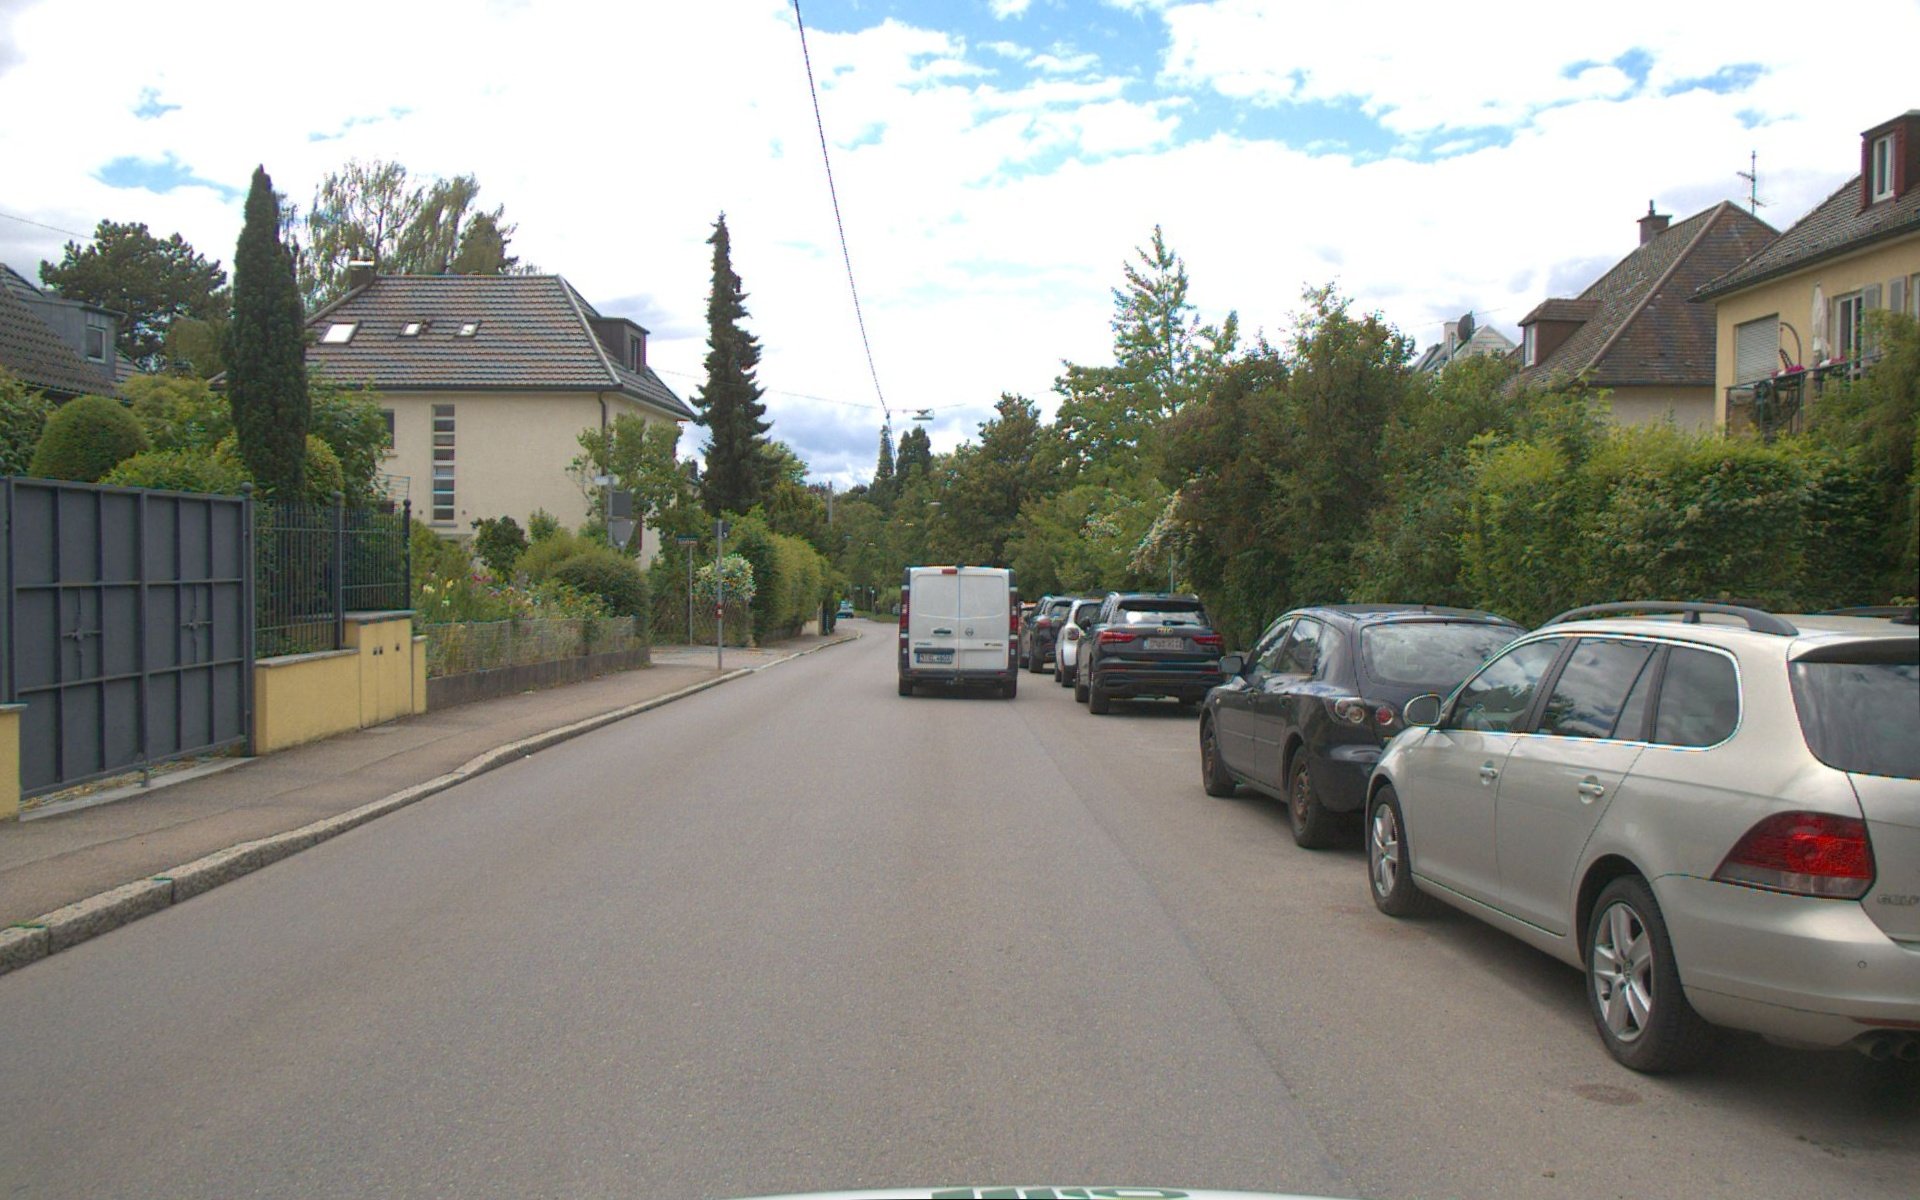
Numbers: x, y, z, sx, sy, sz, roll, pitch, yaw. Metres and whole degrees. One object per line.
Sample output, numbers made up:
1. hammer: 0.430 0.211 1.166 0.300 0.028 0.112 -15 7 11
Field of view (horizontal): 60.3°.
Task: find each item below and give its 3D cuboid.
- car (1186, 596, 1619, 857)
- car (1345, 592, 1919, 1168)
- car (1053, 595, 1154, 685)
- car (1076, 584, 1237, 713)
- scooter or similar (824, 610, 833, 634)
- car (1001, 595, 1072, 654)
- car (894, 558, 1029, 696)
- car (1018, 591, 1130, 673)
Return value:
1. car: 2.833 0.723 11.566 1.683 1.486 4.138 1 0 -4
2. car: 3.003 0.731 6.550 1.721 1.503 4.355 1 0 -3
3. car: 2.576 0.706 30.231 1.566 1.537 3.012 1 -1 -1
4. car: 2.642 0.635 23.062 1.764 1.620 4.141 1 0 0
5. scooter or similar: -6.739 1.120 84.823 0.384 1.192 1.269 0 -1 -2
6. car: 2.312 0.750 50.831 1.813 1.655 4.167 2 -1 -2
7. car: -0.065 0.394 26.579 1.891 1.998 4.399 1 0 -3
8. car: 2.465 0.692 36.753 1.911 1.655 4.373 2 -1 -3
